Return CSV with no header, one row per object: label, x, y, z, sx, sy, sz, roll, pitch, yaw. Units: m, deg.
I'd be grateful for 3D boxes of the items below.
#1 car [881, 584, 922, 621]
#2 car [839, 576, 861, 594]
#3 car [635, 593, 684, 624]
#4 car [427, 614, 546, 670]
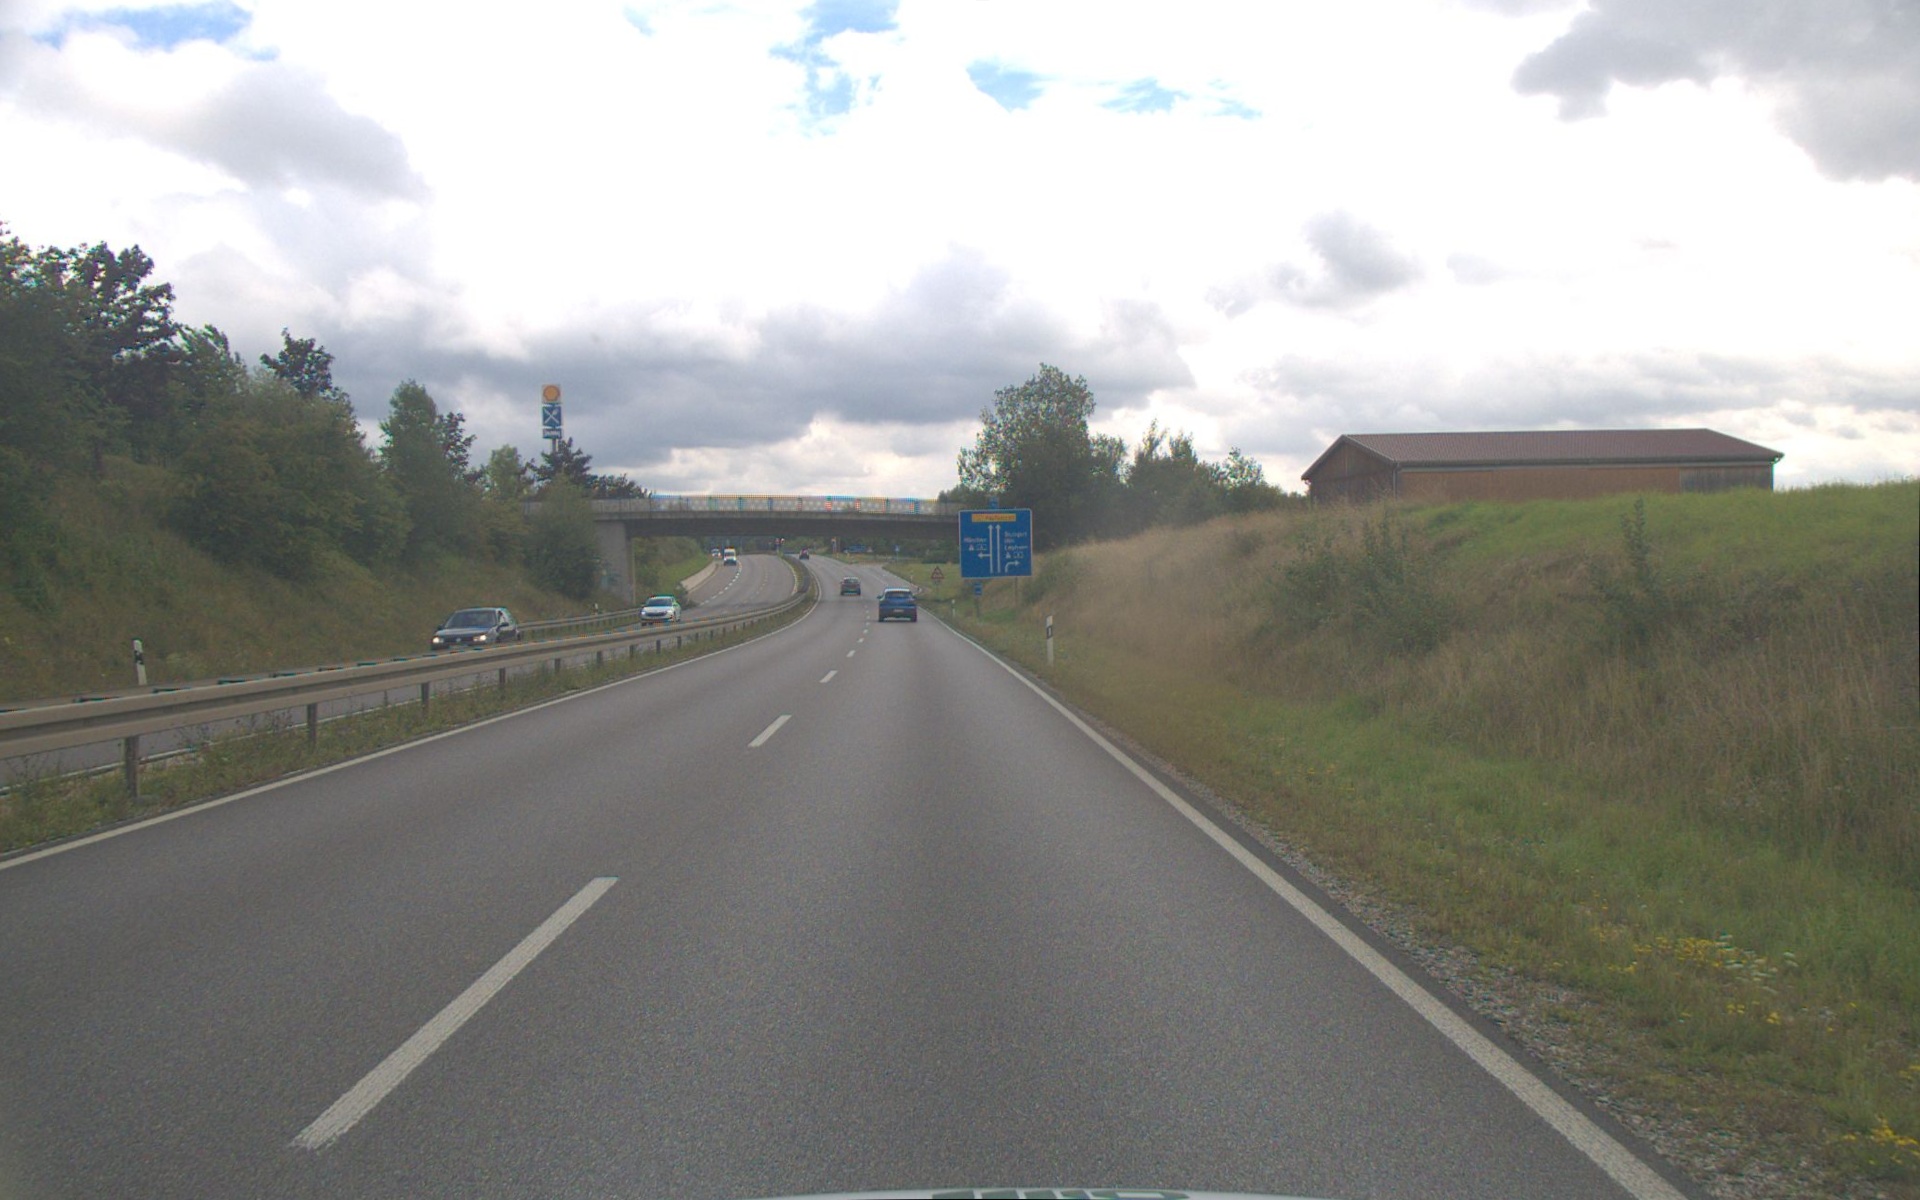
car,-2.941,0.109,82.566,1.992,1.689,4.542,0,2,-3
car,-9.541,-1.297,143.918,1.879,1.478,4.361,-1,1,-4
car,-15.942,0.418,87.860,1.953,1.478,3.999,-1,1,-2
car,-12.944,1.109,45.497,1.953,1.327,4.821,-1,1,-1
